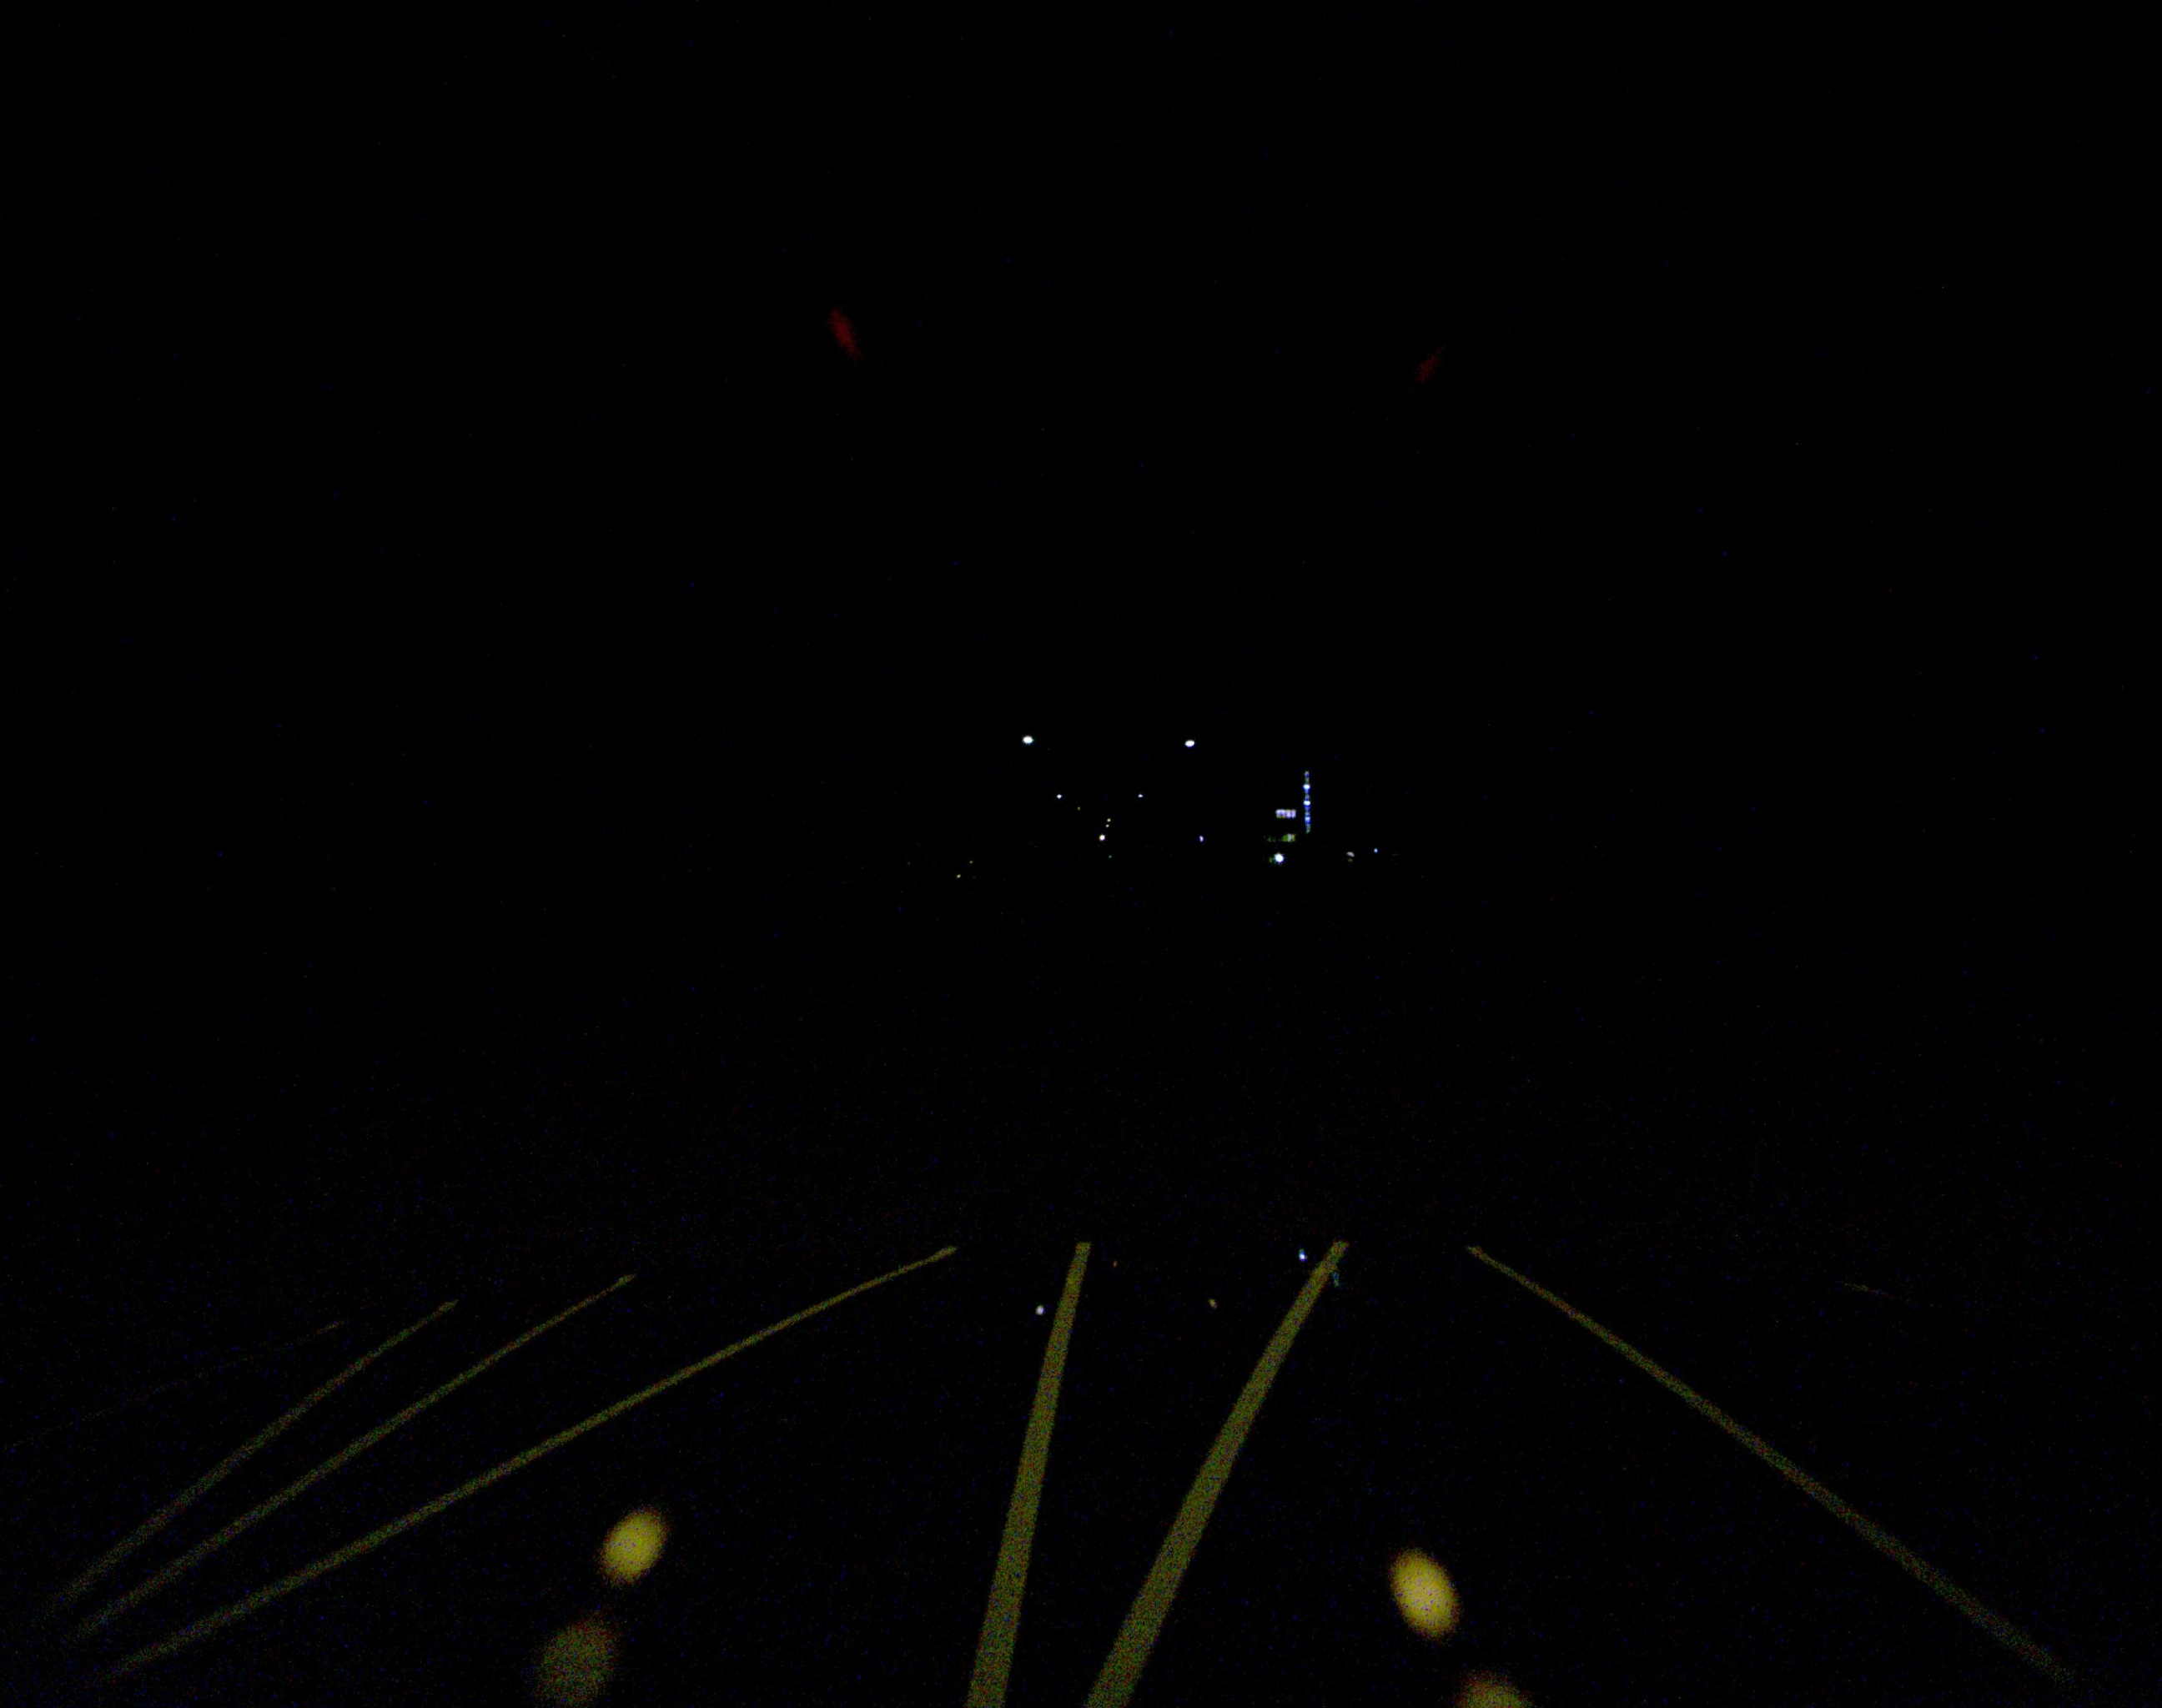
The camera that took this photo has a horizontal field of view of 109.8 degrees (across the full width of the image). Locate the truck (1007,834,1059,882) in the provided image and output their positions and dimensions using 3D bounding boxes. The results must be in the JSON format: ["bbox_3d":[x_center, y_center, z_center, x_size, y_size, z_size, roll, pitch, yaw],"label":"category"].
[{"bbox_3d":[-4.114,0.381,68.790,2.515,3.814,12.664,-2,-1,6],"label":"truck"}]

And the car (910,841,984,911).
[{"bbox_3d":[-5.433,0.865,31.631,1.999,2.533,6.025,-2,-1,-1],"label":"car"}]

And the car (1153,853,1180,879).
[{"bbox_3d":[8.701,1.202,77.588,1.999,2.428,5.745,-2,-1,0],"label":"car"}]

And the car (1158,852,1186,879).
[{"bbox_3d":[8.255,1.036,69.477,2.145,2.298,4.469,-2,0,2],"label":"car"}]

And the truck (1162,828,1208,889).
[{"bbox_3d":[8.071,0.278,60.476,2.644,4.289,12.826,0,0,4],"label":"truck"}]

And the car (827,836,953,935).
[{"bbox_3d":[-5.581,0.849,23.298,1.945,2.533,6.647,-2,-1,1],"label":"car"}]

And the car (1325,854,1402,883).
[{"bbox_3d":[17.385,0.888,46.888,3.997,1.454,1.806,-5,0,-2],"label":"car"}]

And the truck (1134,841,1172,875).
[{"bbox_3d":[8.257,0.457,88.534,2.829,3.610,10.400,-2,-1,-2],"label":"truck"}]

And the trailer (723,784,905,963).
[{"bbox_3d":[-5.566,0.392,16.607,2.404,3.306,4.362,-2,0,-2],"label":"trailer"}]
